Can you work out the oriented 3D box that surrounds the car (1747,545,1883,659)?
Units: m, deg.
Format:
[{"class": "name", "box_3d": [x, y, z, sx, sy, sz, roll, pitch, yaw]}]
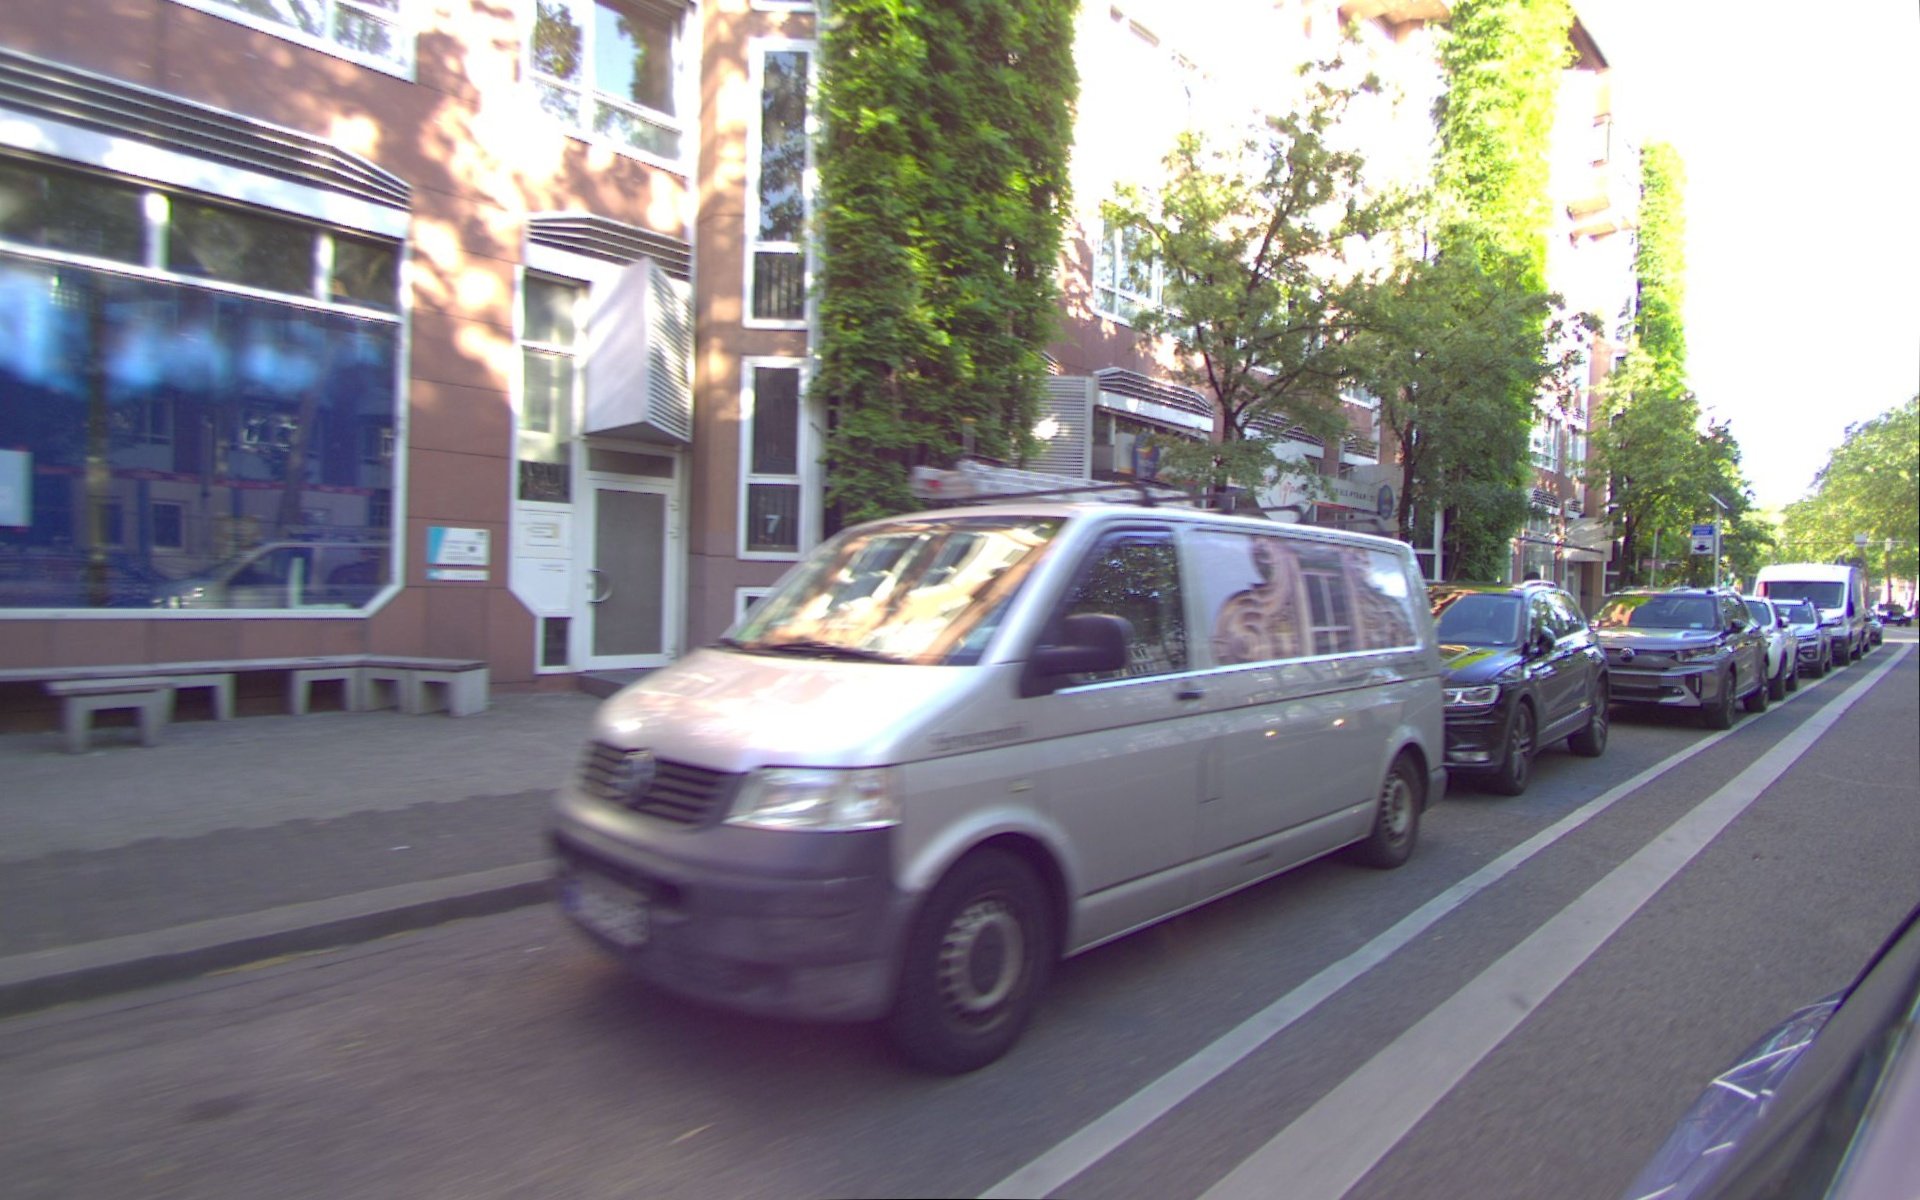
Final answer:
[{"class": "car", "box_3d": [21.861, 0.013, 25.779, 5.809, 2.597, 2.116, 0, 2, -45]}]

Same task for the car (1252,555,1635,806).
[{"class": "car", "box_3d": [4.422, 0.513, 8.927, 1.788, 1.691, 4.132, 2, 2, 44]}]

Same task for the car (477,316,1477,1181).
[{"class": "car", "box_3d": [0.641, 0.330, 4.962, 1.919, 2.104, 5.087, 2, 2, 44]}]

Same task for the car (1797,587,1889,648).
[{"class": "car", "box_3d": [26.580, 0.471, 30.406, 1.804, 1.647, 4.404, 2, 2, 44]}]

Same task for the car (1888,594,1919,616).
[{"class": "car", "box_3d": [68.809, 0.352, 73.500, 1.994, 1.552, 3.936, 0, 1, 45]}]

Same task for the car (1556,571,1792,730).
[{"class": "car", "box_3d": [9.331, 0.524, 13.068, 1.788, 1.691, 4.369, 2, 2, 44]}]

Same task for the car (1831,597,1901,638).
[{"class": "car", "box_3d": [33.244, 0.606, 37.176, 1.803, 1.347, 3.931, 2, 2, 42]}]

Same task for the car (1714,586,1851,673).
[{"class": "car", "box_3d": [17.256, 0.539, 21.171, 1.829, 1.598, 3.936, 2, 2, 44]}]

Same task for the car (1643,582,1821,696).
[{"class": "car", "box_3d": [12.782, 0.549, 16.671, 1.829, 1.598, 3.936, 2, 2, 44]}]

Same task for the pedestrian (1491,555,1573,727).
[{"class": "pedestrian", "box_3d": [6.350, 0.426, 11.272, 0.709, 1.835, 0.656, 2, 1, 27]}]
